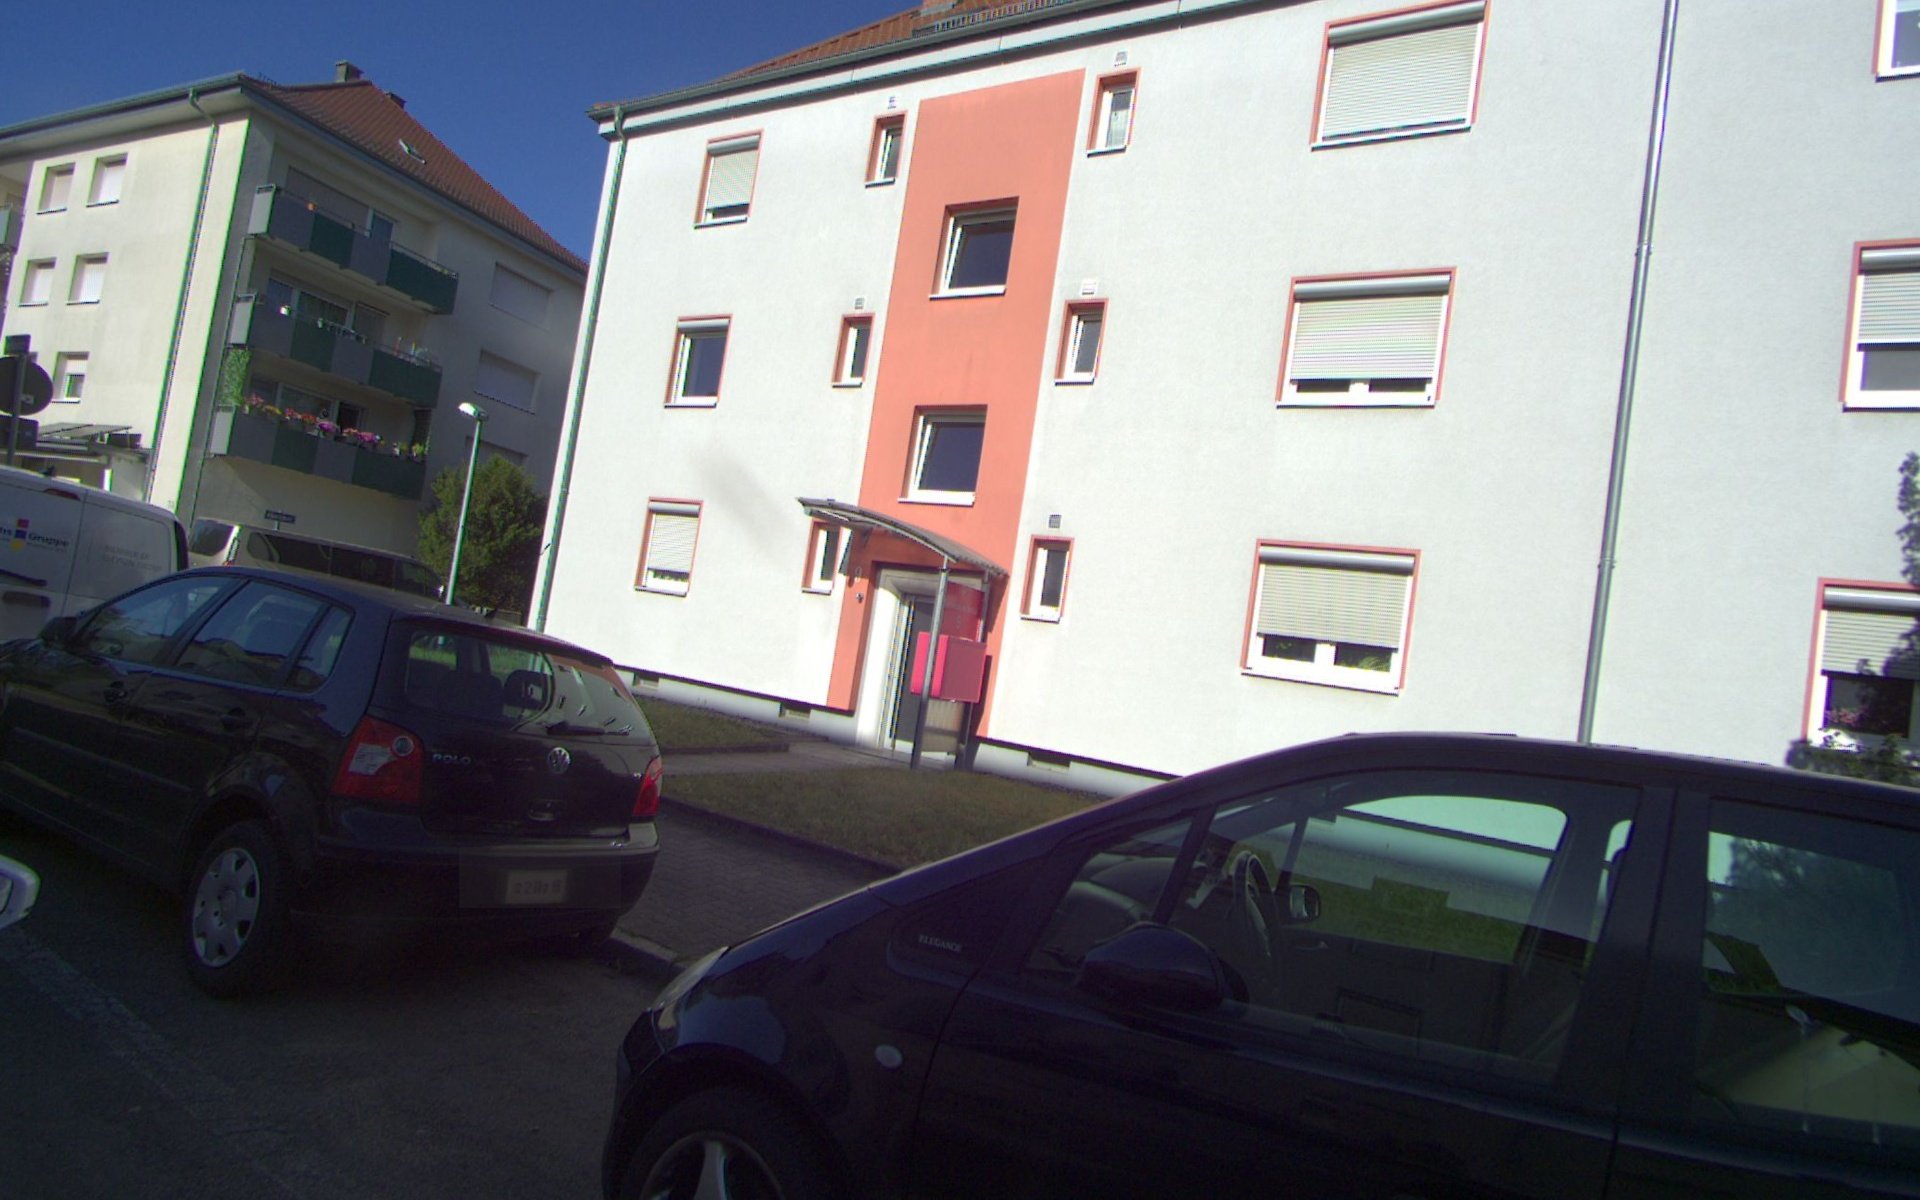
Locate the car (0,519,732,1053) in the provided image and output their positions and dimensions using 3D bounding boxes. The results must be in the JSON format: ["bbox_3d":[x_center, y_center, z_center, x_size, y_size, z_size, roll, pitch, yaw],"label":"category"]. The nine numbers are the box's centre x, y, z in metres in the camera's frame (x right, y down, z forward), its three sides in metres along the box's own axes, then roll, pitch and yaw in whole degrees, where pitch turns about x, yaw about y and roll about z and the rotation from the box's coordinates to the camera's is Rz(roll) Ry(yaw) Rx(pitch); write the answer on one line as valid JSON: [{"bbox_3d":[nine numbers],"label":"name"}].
[{"bbox_3d":[-3.106,0.582,4.679,3.723,1.431,1.579,7,-5,29],"label":"car"}]

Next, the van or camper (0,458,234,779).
[{"bbox_3d":[-7.443,-0.110,7.111,4.656,1.762,1.802,7,-8,31],"label":"van or camper"}]

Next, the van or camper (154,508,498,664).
[{"bbox_3d":[-12.022,-0.139,19.560,1.966,2.034,5.142,9,-4,29],"label":"van or camper"}]

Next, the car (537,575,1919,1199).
[{"bbox_3d":[1.127,1.074,2.061,3.547,1.563,1.627,7,-7,27],"label":"car"}]
